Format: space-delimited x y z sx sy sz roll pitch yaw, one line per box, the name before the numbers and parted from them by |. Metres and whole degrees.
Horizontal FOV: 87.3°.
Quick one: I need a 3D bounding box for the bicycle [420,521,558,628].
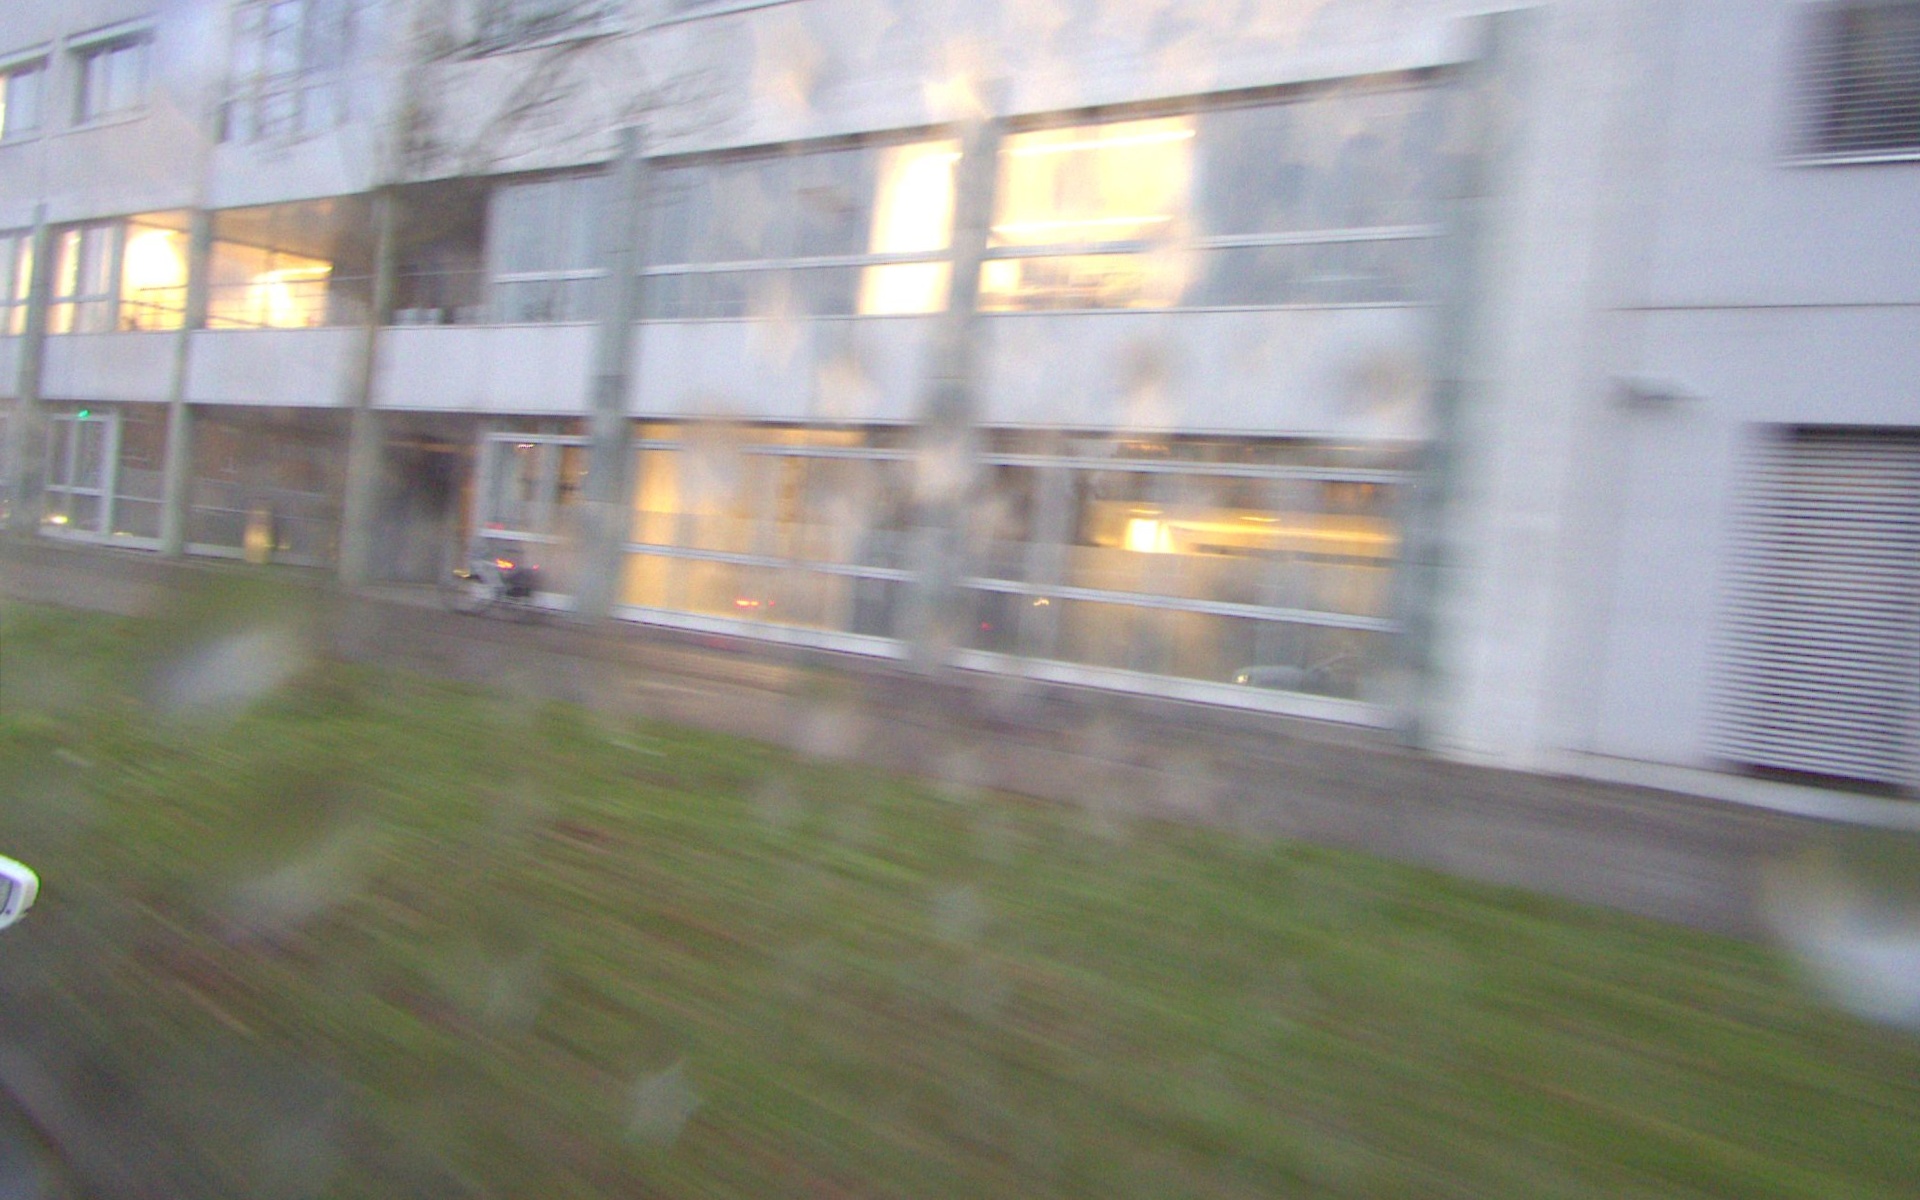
bicycle | -6.670 -0.384 14.159 2.423 1.291 0.820 7 4 41
